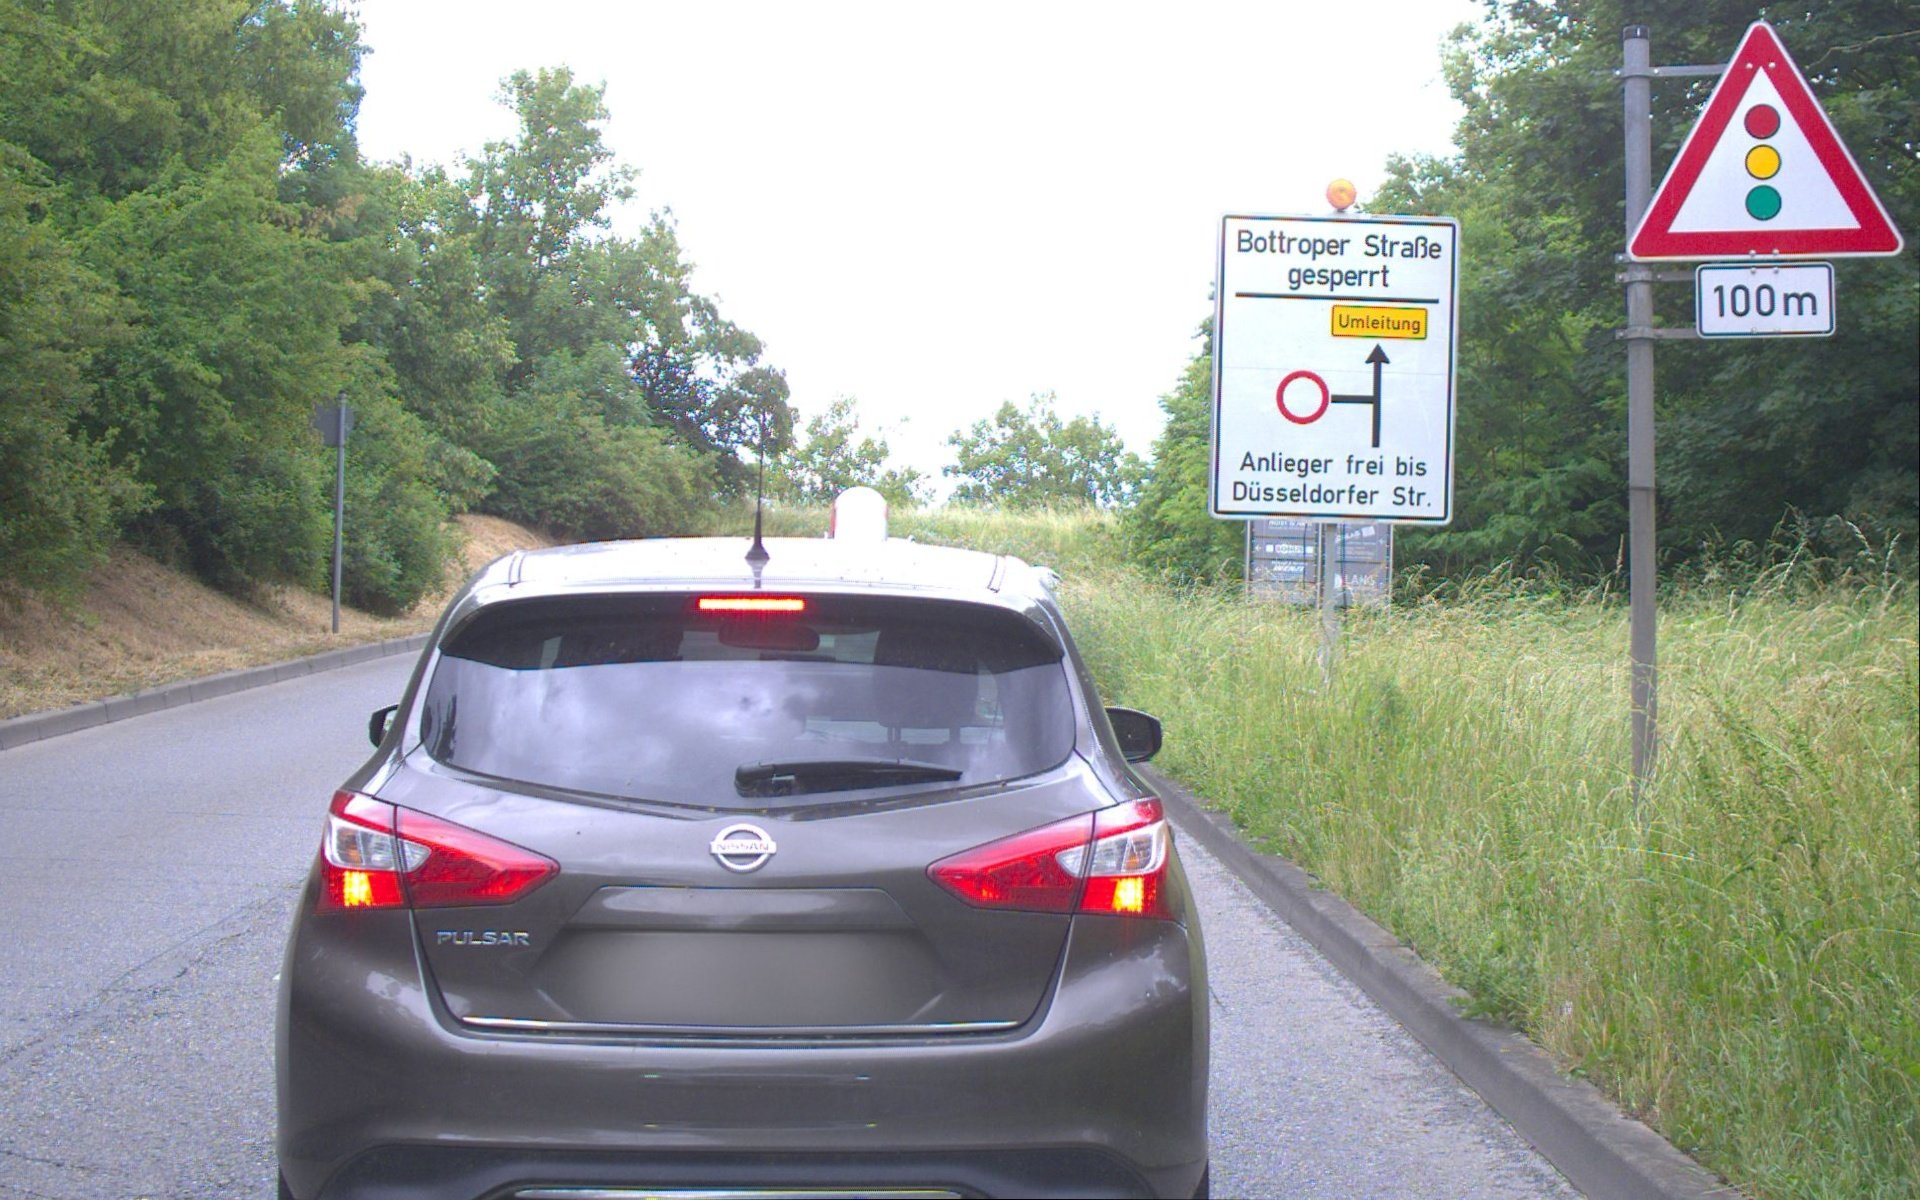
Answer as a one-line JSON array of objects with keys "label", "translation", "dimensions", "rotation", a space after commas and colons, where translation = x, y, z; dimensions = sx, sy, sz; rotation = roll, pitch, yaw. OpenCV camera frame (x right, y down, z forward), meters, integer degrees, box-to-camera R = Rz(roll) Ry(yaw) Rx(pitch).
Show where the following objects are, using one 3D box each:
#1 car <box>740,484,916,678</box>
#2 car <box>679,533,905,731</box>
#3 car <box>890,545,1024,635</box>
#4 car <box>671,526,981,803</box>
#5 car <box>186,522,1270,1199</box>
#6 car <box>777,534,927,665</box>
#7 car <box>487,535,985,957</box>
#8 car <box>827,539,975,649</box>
[{"label": "car", "translation": [-1.337, -0.220, 35.965], "dimensions": [1.736, 1.928, 3.544], "rotation": [0, 1, -1]}, {"label": "car", "translation": [-1.349, 0.217, 28.810], "dimensions": [1.736, 1.551, 3.544], "rotation": [0, 1, 0]}, {"label": "car", "translation": [-0.016, -0.196, 59.948], "dimensions": [1.736, 1.521, 3.640], "rotation": [0, 1, 10]}, {"label": "car", "translation": [-0.764, 0.331, 21.090], "dimensions": [1.736, 1.551, 3.544], "rotation": [0, 1, 0]}, {"label": "car", "translation": [-0.464, 0.620, 7.594], "dimensions": [1.830, 1.551, 3.500], "rotation": [1, 1, -2]}, {"label": "car", "translation": [-1.308, -0.039, 41.603], "dimensions": [1.736, 1.521, 3.544], "rotation": [0, 1, -2]}, {"label": "car", "translation": [-0.839, 0.506, 14.511], "dimensions": [1.830, 1.551, 3.625], "rotation": [0, 1, 0]}, {"label": "car", "translation": [-0.815, -0.117, 49.645], "dimensions": [1.736, 1.521, 3.641], "rotation": [0, 1, 6]}]
